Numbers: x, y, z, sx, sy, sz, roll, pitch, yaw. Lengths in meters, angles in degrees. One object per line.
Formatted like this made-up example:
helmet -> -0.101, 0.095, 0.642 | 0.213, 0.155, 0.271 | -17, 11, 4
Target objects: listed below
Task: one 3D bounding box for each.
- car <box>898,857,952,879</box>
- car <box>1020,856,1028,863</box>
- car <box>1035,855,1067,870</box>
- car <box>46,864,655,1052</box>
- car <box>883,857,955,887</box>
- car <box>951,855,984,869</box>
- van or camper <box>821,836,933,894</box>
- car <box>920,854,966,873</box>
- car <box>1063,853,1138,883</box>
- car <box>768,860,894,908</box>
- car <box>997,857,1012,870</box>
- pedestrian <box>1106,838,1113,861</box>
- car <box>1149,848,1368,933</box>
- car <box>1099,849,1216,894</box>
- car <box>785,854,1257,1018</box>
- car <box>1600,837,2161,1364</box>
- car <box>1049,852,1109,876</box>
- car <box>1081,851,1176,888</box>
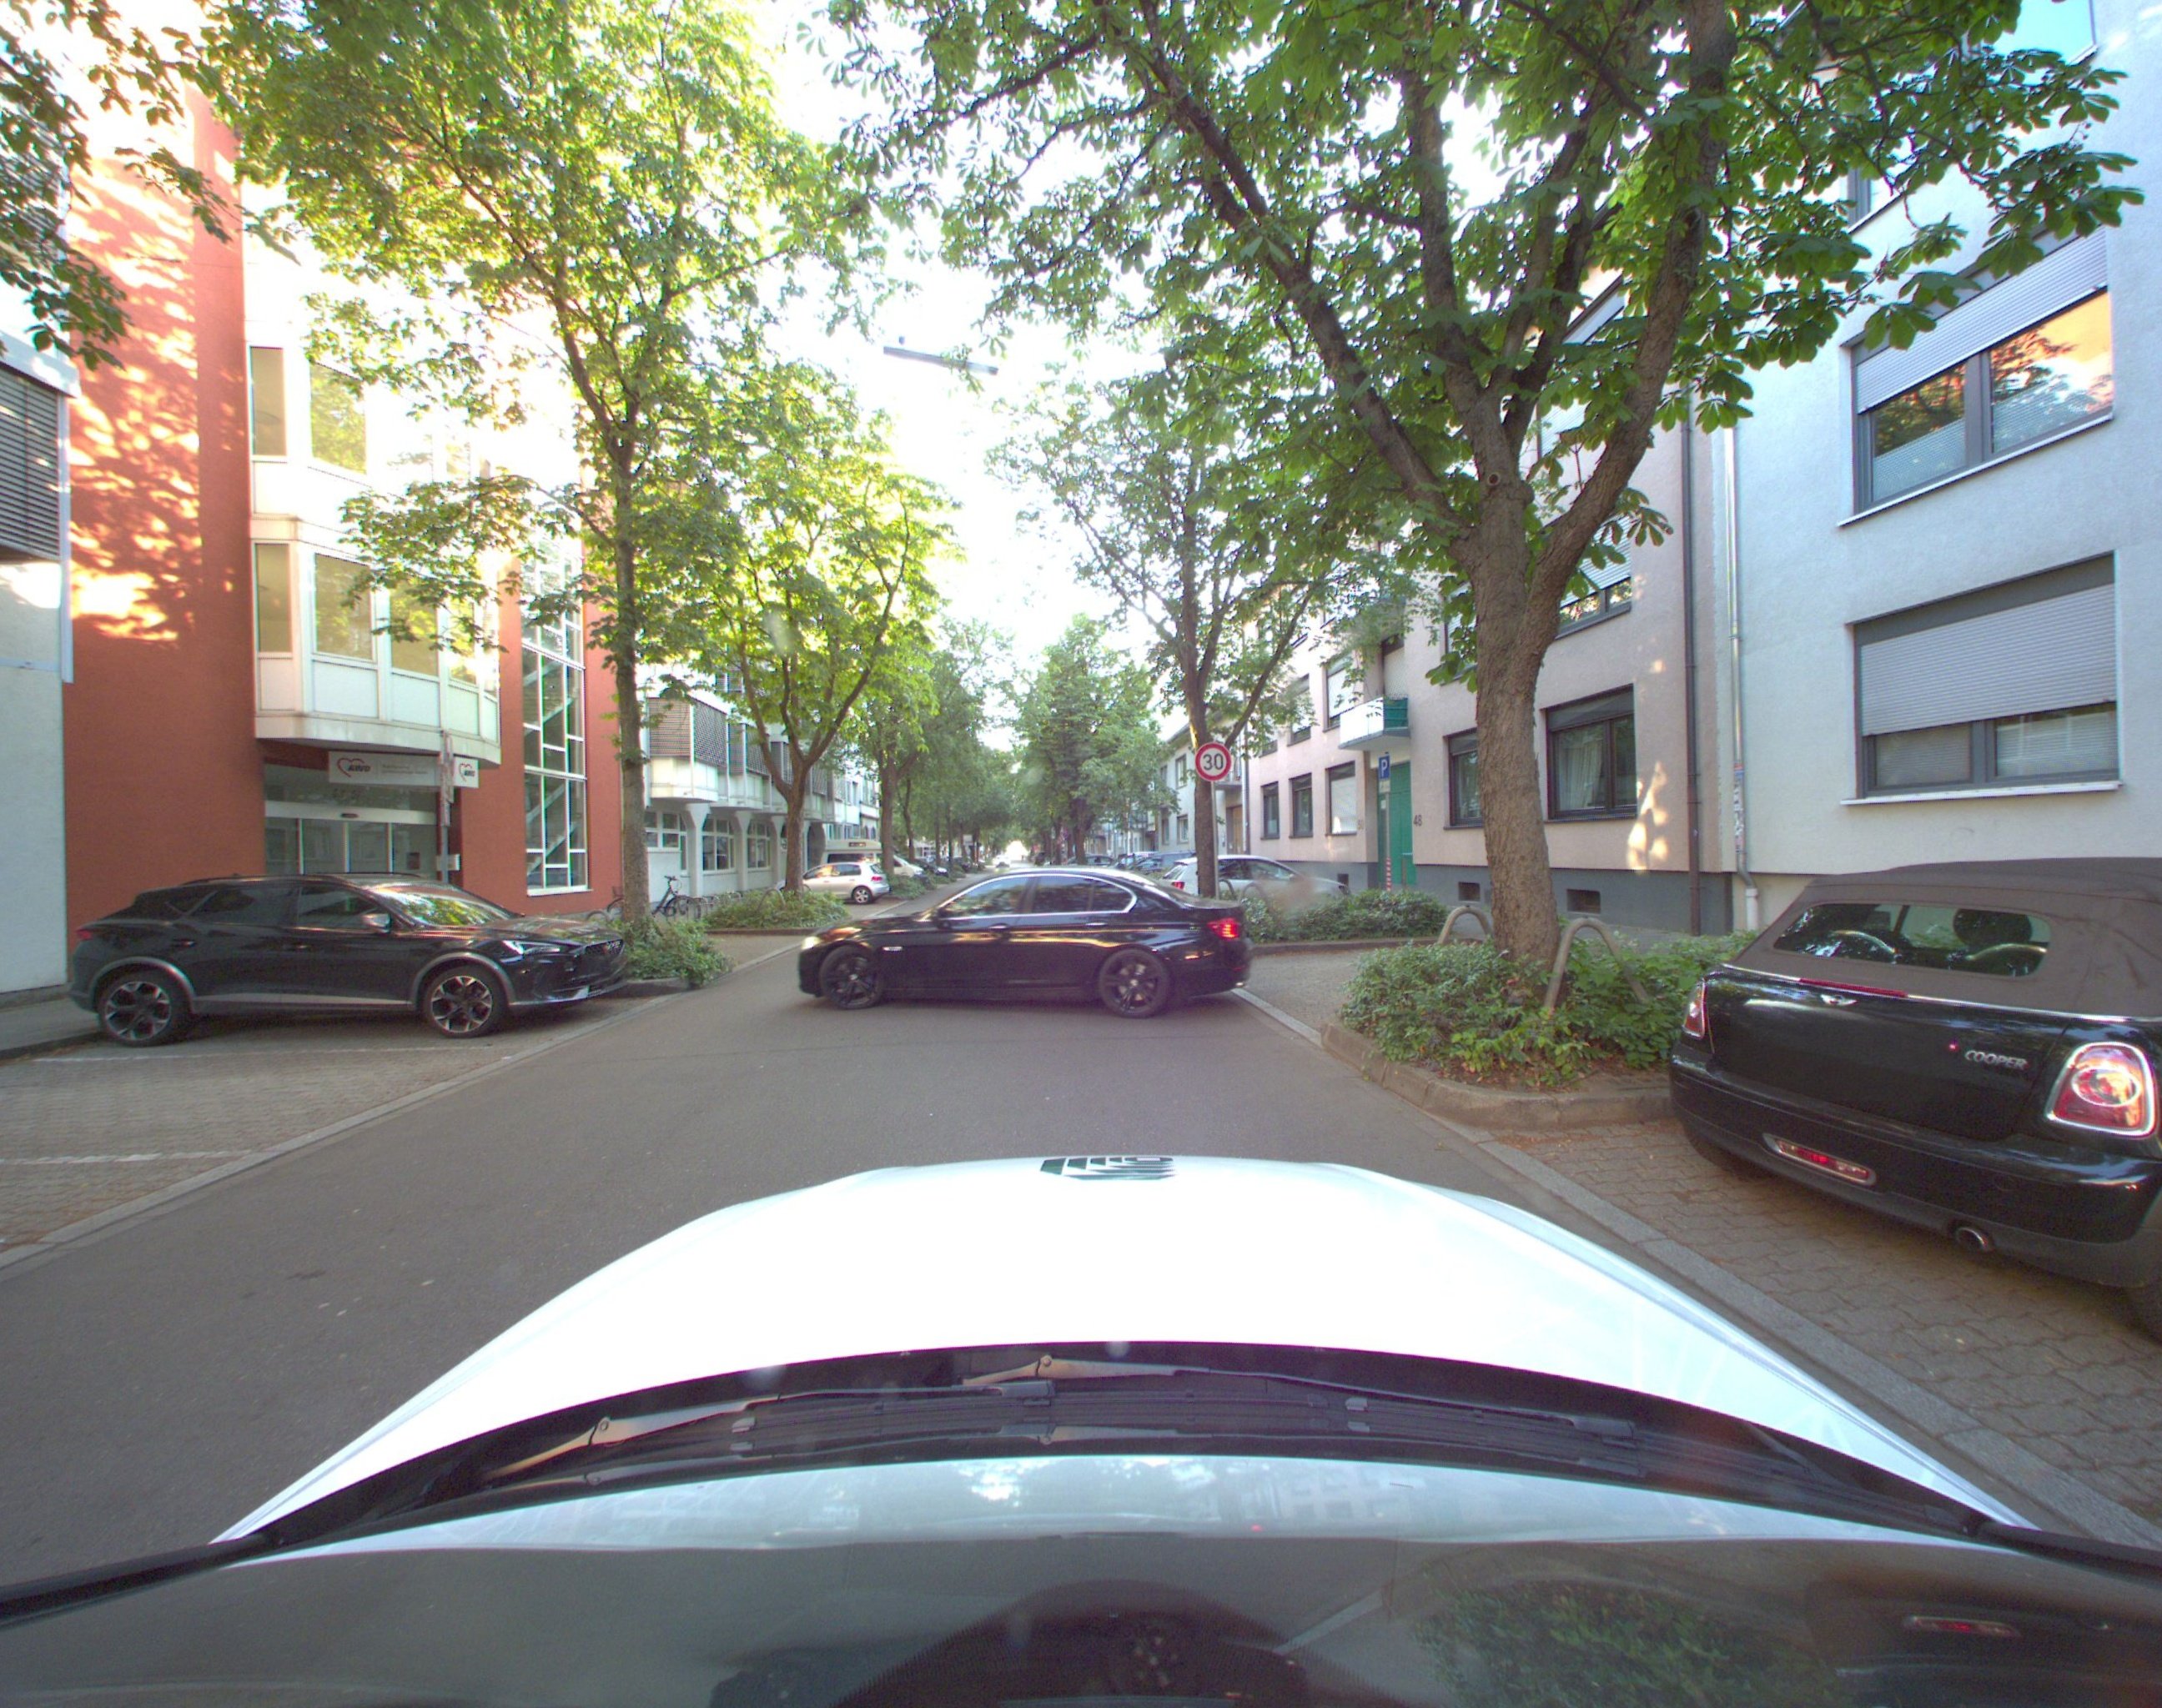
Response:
car -> -12.392, 1.072, 64.969 | 3.959, 1.619, 1.783 | -2, 0, -4
car -> -12.939, 1.174, 185.959 | 1.819, 1.530, 3.995 | -2, 0, -4
car -> -3.718, 1.063, 101.055 | 3.959, 1.684, 1.783 | -2, 0, -4
car -> -7.021, 0.930, 8.274 | 4.347, 1.517, 1.782 | -2, 0, -5
car -> -9.590, 1.046, 48.423 | 3.960, 1.619, 1.783 | -2, 0, -4
car -> -14.336, 1.001, 103.110 | 3.959, 1.619, 1.783 | -2, 0, -4
van or camper -> -9.289, 0.485, 37.420 | 4.656, 2.478, 1.997 | -1, 0, -5
car -> -12.965, 0.866, 76.637 | 3.959, 1.619, 1.783 | -2, 0, -4
car -> 1.022, 0.746, 45.085 | 3.962, 1.527, 1.782 | -2, 0, -5
car -> -8.844, 1.044, 29.086 | 3.960, 1.517, 1.783 | -2, 0, -4
car -> -10.038, 1.215, 106.483 | 1.775, 1.562, 4.162 | -1, 0, -4
pedestrian -> 2.538, -0.402, 73.016 | 0.587, 2.013, 0.669 | -1, 0, -3
car -> 3.437, 0.676, 16.119 | 3.904, 1.476, 1.661 | -2, 0, -7
car -> 2.765, 0.631, 29.757 | 3.963, 1.476, 1.781 | -2, 0, -7
car -> -0.539, 0.805, 8.799 | 4.712, 1.480, 1.806 | -1, 0, 12
car -> 4.349, 0.633, 3.269 | 3.608, 1.363, 1.660 | -2, 0, -8
car -> -0.170, 0.663, 56.989 | 3.963, 1.527, 1.781 | -2, 0, -6
car -> 2.080, 0.669, 36.243 | 3.962, 1.527, 1.782 | -2, 0, -5
